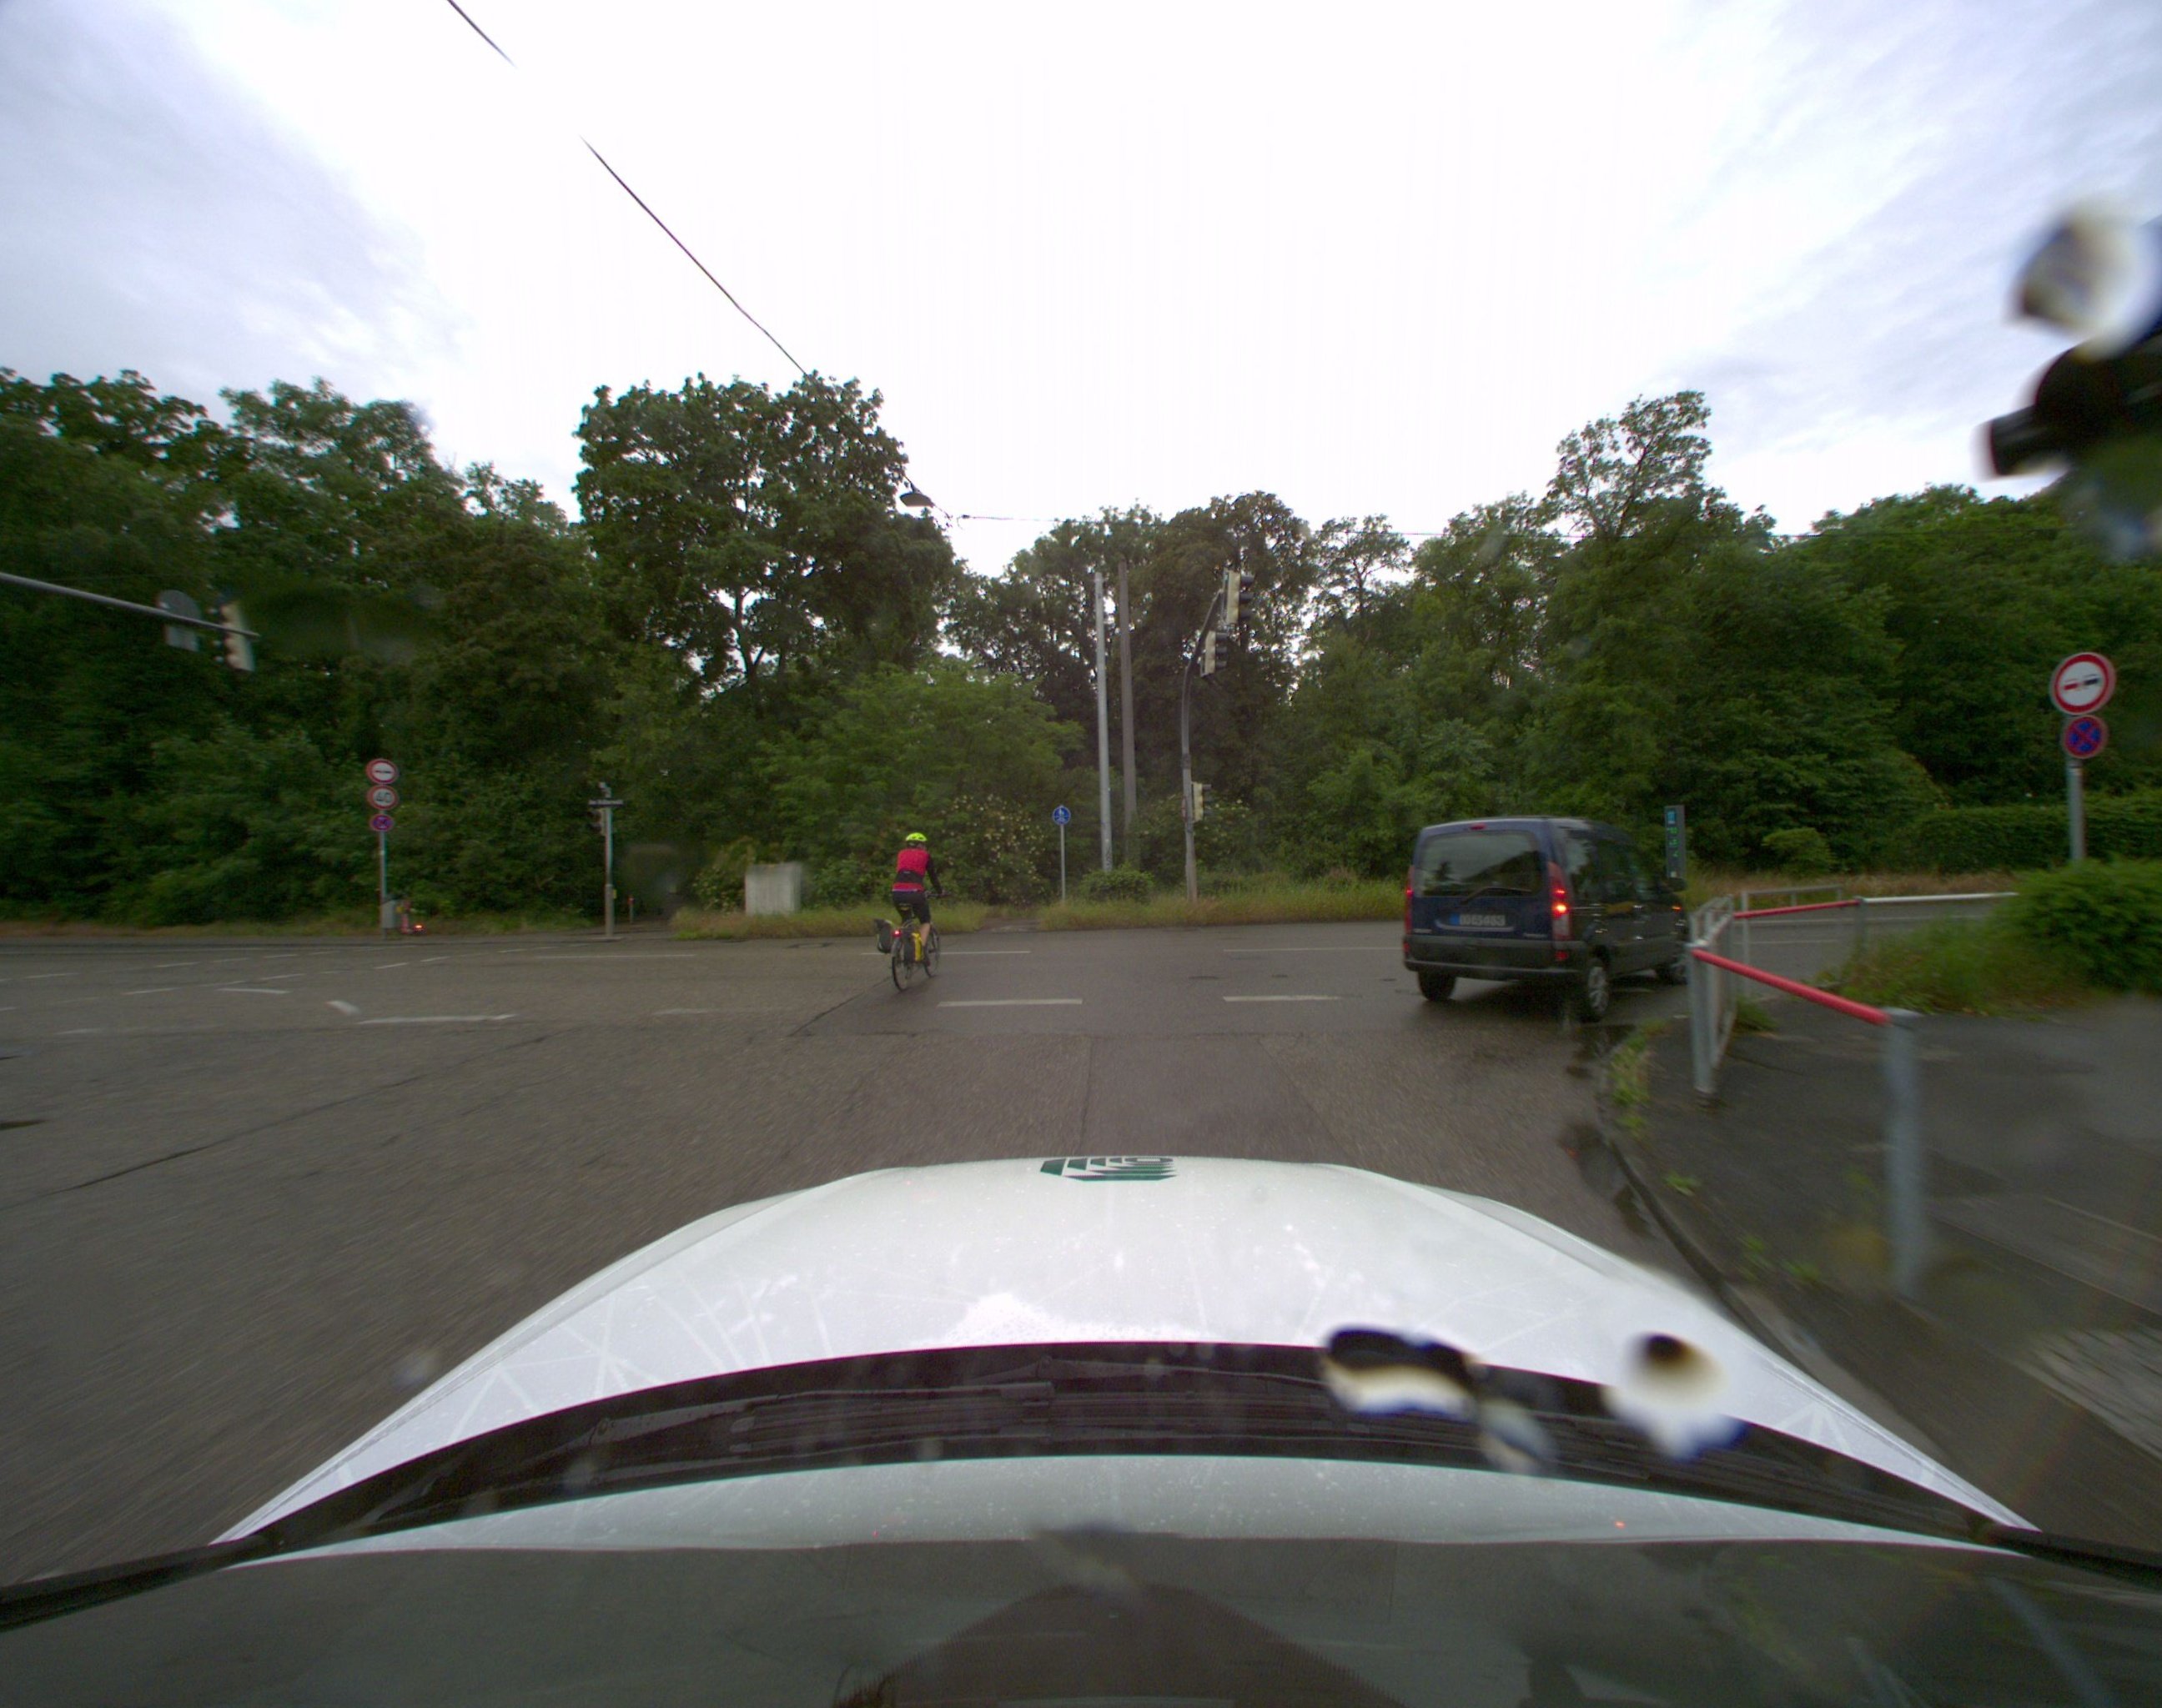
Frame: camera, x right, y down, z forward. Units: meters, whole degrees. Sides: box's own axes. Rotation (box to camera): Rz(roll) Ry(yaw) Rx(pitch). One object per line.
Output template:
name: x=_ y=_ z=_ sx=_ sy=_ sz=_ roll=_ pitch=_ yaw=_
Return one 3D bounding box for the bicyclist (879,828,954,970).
bicyclist: x=-1.999 y=0.520 z=10.010 sx=0.575 sy=1.652 sz=1.050 roll=-1 pitch=0 yaw=6

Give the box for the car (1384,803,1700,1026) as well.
car: x=5.019 y=0.482 z=8.611 sx=4.023 sy=1.797 sz=1.792 roll=-1 pitch=-1 yaw=-44

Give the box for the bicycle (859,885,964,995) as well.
bicycle: x=-1.998 y=0.977 z=9.923 sx=0.575 sy=1.096 sz=2.158 roll=-1 pitch=0 yaw=6
